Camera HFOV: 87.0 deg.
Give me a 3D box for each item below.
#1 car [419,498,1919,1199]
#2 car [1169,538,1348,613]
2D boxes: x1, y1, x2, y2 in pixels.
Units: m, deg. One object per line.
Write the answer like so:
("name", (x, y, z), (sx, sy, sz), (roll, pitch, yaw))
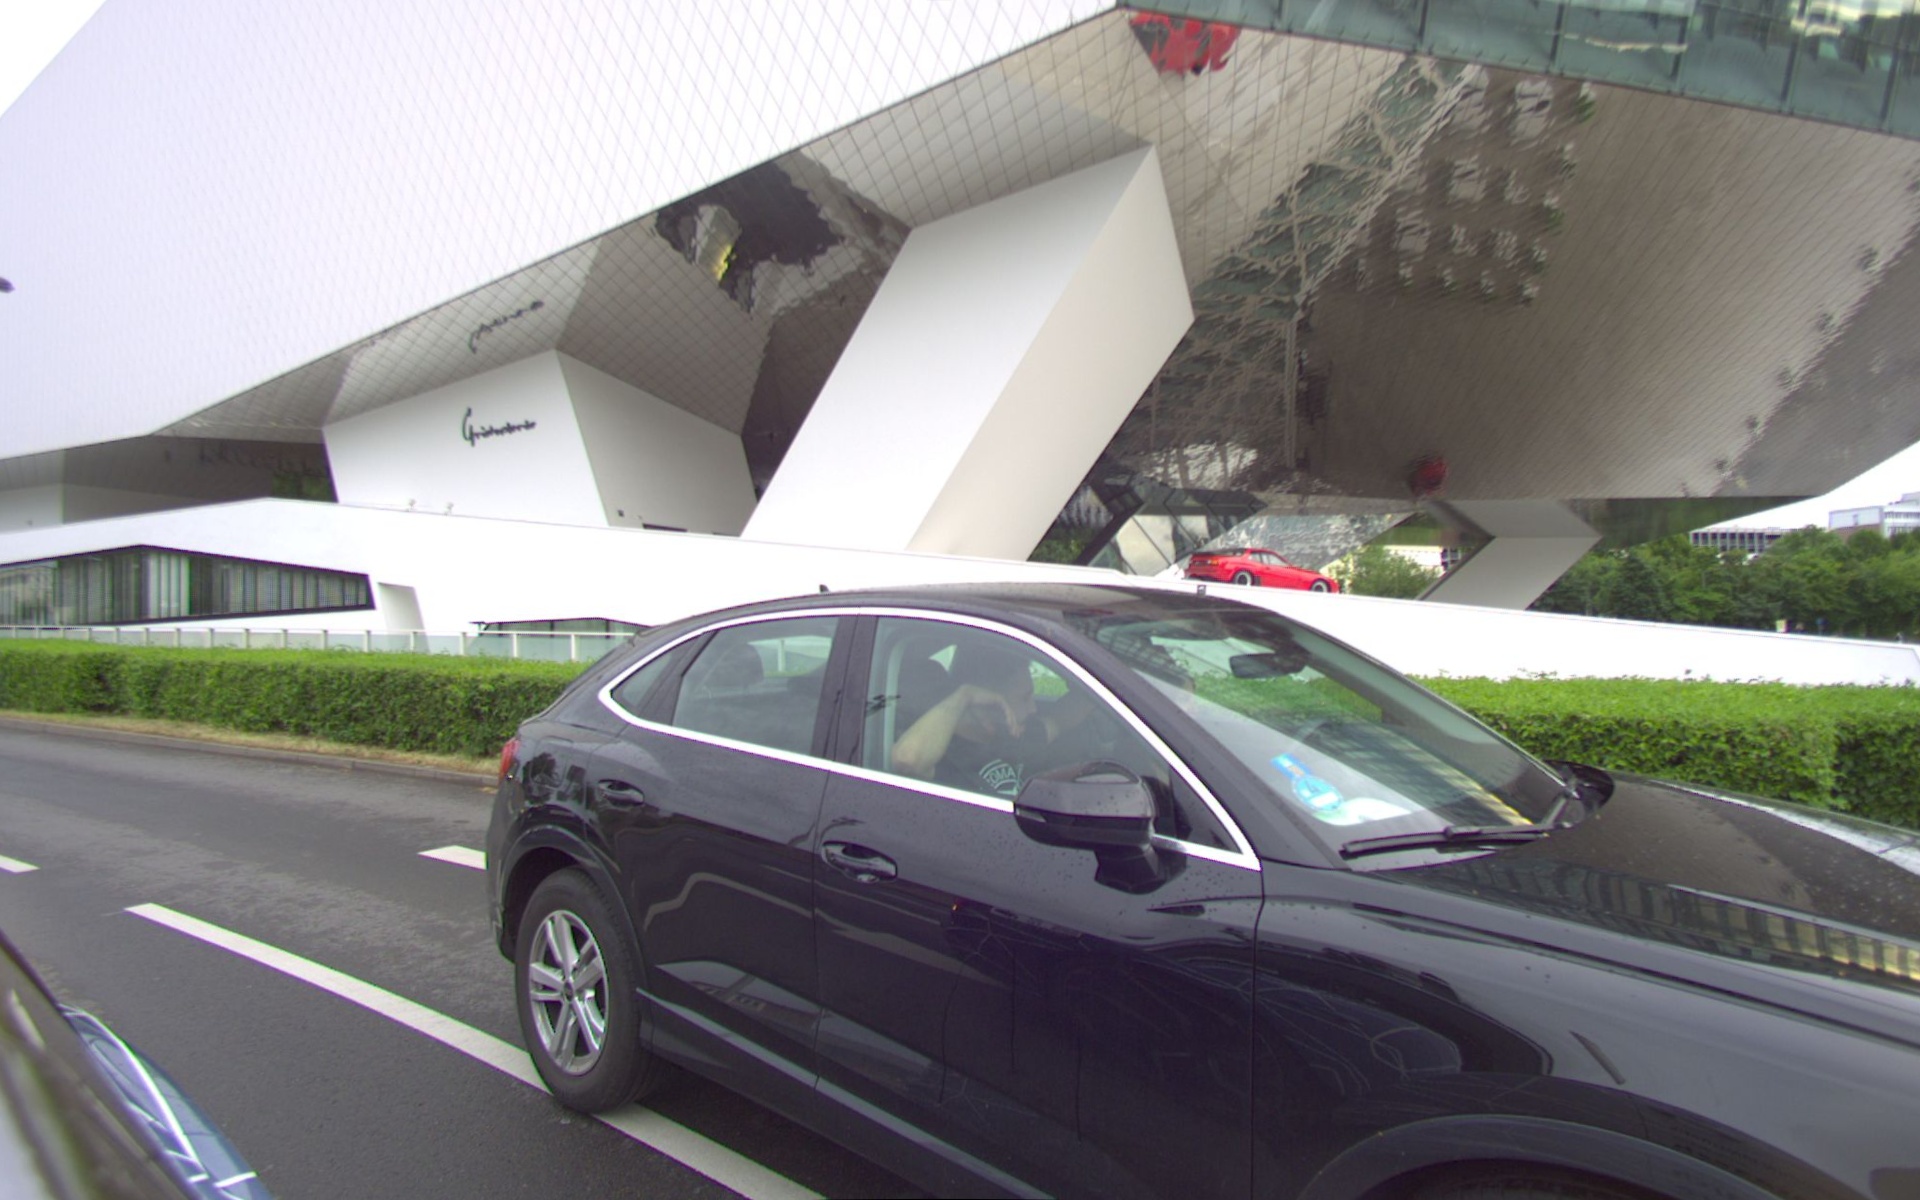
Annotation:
("car", (0.375, 0.678, 2.680), (4.392, 1.529, 1.734), (-1, 0, 41))
("car", (8.146, -0.618, 27.686), (4.175, 1.395, 2.006), (7, -4, -16))
